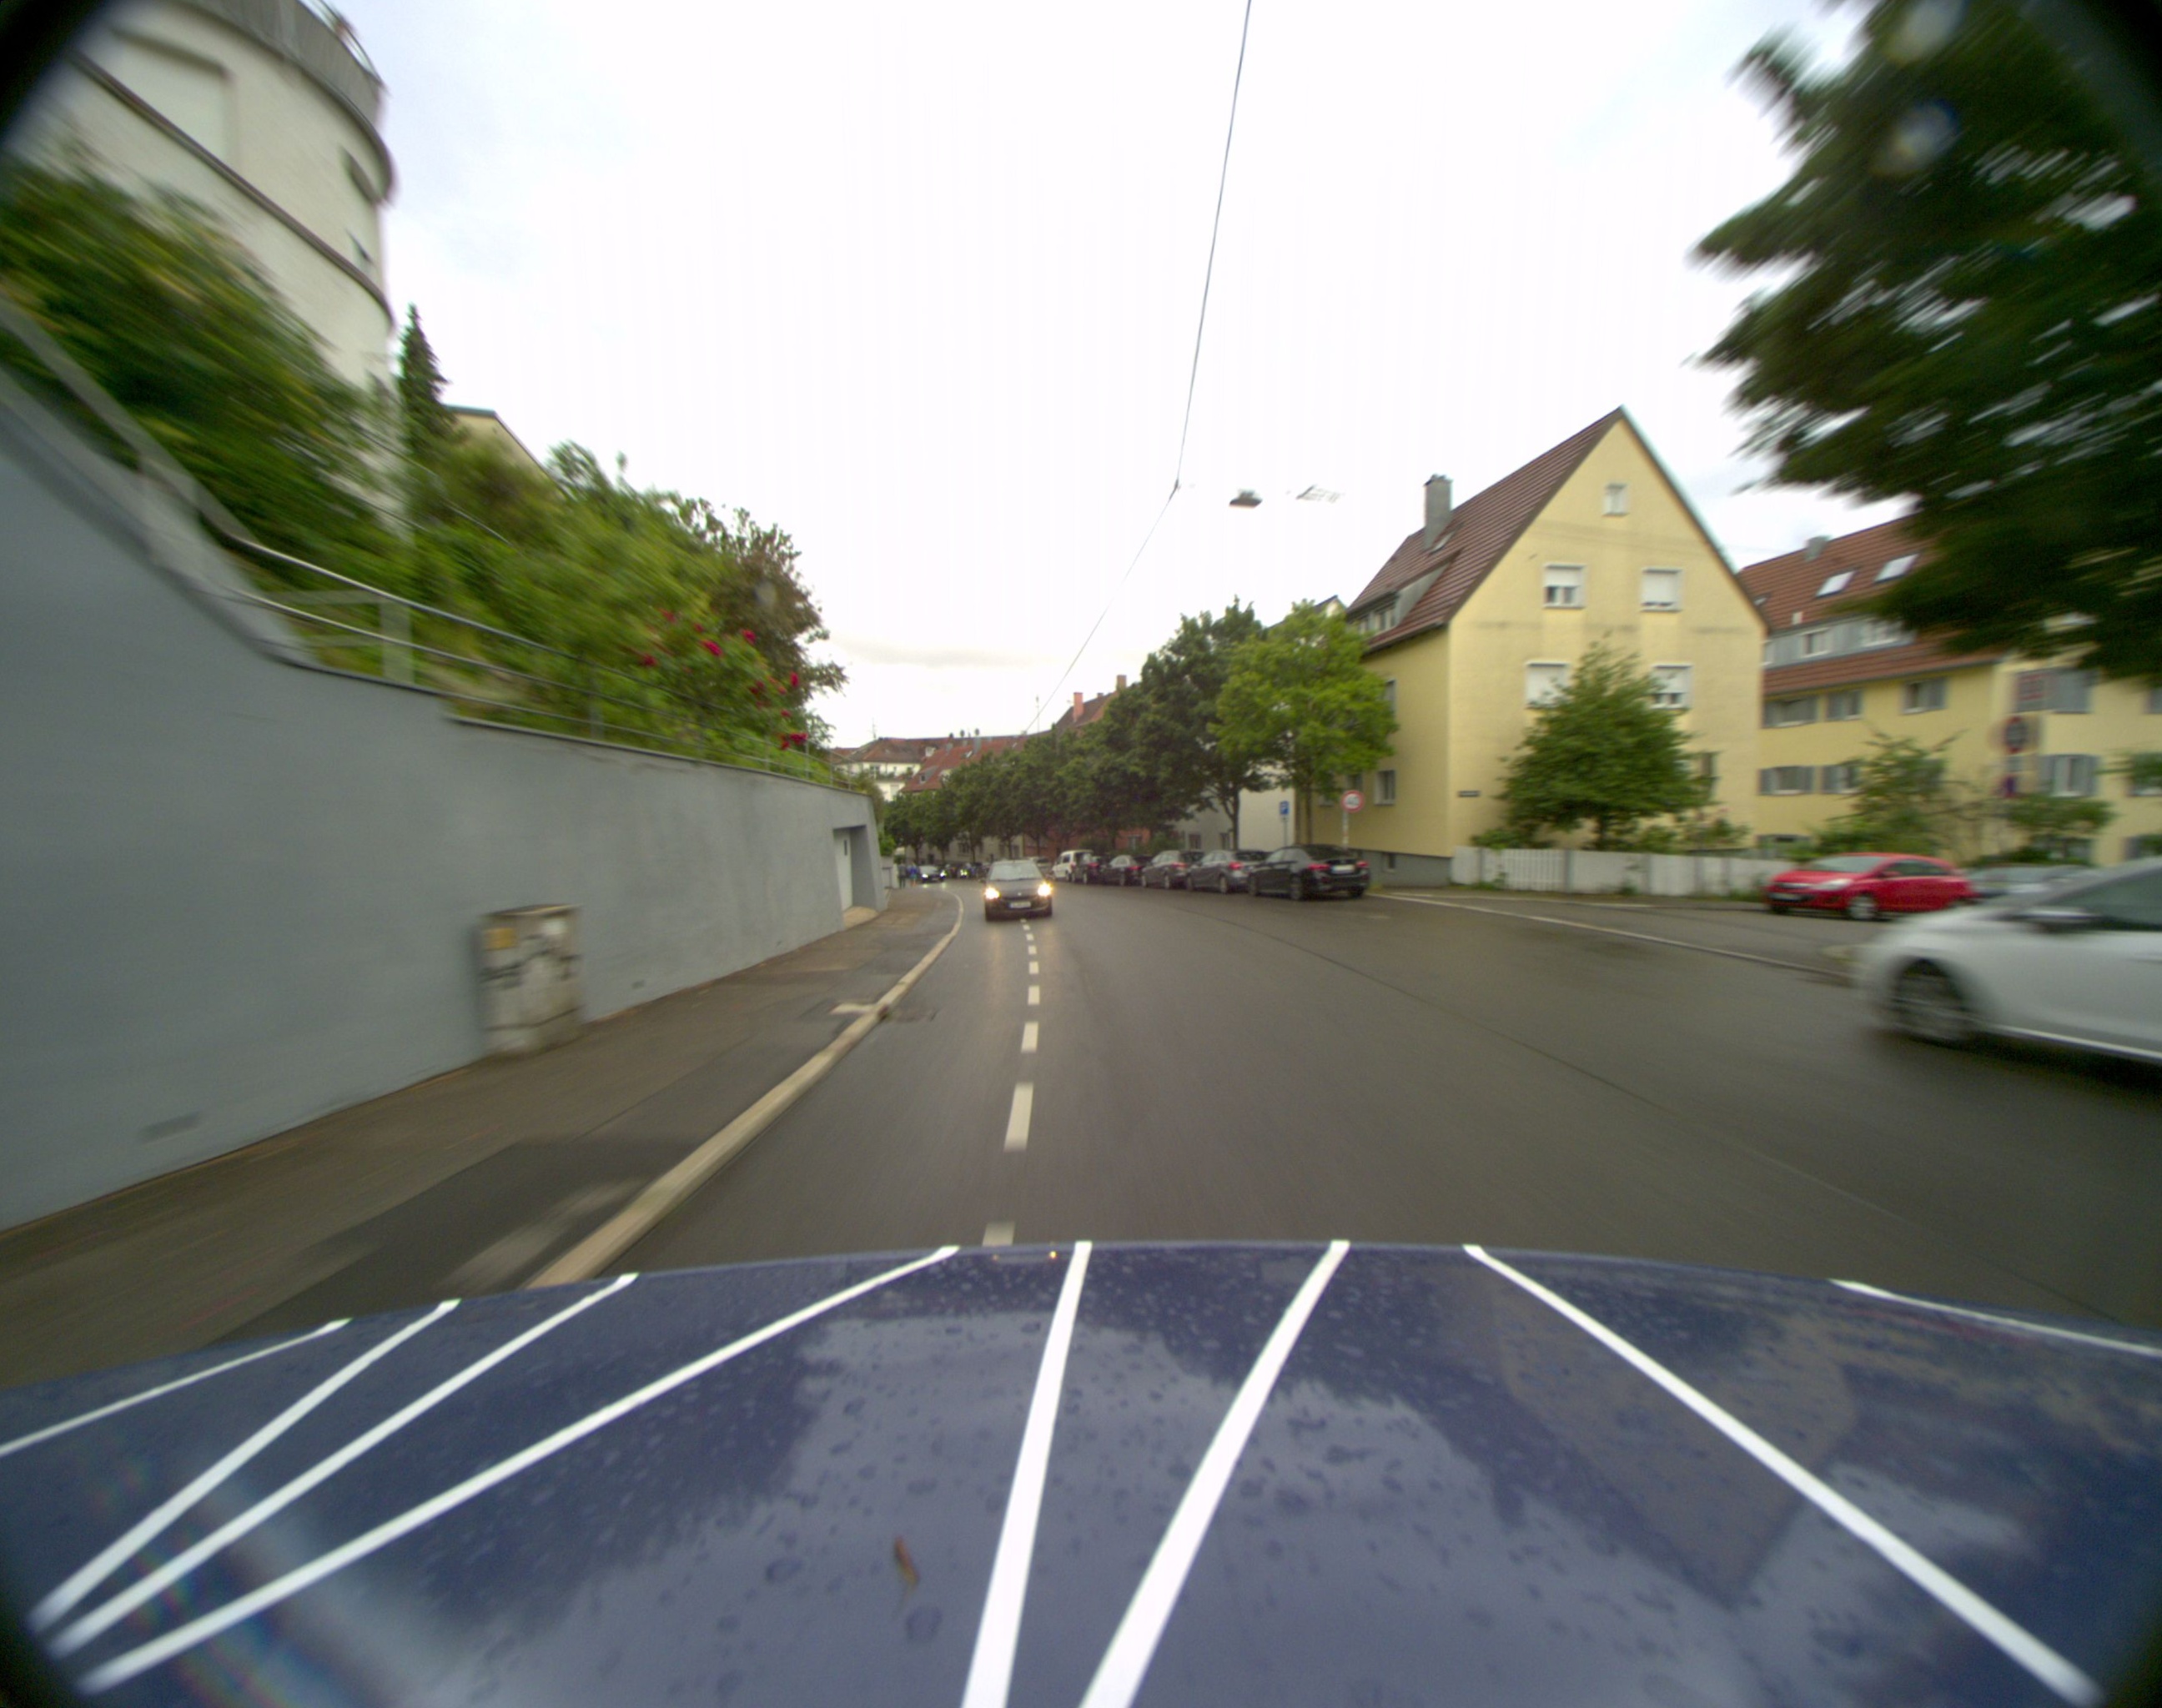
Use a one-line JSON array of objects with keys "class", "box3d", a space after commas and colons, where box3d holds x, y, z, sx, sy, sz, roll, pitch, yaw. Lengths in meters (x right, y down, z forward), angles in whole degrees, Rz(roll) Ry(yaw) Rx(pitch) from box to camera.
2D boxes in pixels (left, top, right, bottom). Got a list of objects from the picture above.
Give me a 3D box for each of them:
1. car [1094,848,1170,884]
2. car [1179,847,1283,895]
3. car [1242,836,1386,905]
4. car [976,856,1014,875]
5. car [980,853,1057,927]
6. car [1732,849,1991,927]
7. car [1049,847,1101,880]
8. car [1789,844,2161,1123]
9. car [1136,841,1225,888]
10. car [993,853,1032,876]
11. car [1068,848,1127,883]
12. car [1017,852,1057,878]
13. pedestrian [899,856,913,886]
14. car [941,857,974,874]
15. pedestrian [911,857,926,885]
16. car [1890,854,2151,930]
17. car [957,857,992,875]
[{"class": "car", "box3d": [2.322, 0.567, 35.908, 1.861, 1.490, 4.734, -4, 0, -18]}, {"class": "car", "box3d": [4.871, 0.528, 25.297, 1.620, 1.388, 4.317, -3, 0, -15]}, {"class": "car", "box3d": [6.030, 0.373, 20.310, 1.781, 1.531, 4.512, -4, 1, -9]}, {"class": "car", "box3d": [-7.415, 0.975, 65.175, 1.795, 1.484, 4.352, -4, 1, -27]}, {"class": "car", "box3d": [-1.701, 0.863, 20.246, 1.698, 1.456, 3.996, -6, 3, -6]}, {"class": "car", "box3d": [17.207, 0.720, 16.862, 4.000, 1.436, 1.998, 3, 1, -9]}, {"class": "car", "box3d": [-0.431, 0.565, 46.256, 1.861, 1.766, 4.476, -4, 1, -17]}, {"class": "car", "box3d": [6.927, 0.754, 4.305, 1.788, 1.506, 4.344, 1, 2, 1]}, {"class": "car", "box3d": [3.855, 0.409, 30.304, 1.861, 1.680, 4.549, -2, 0, -15]}, {"class": "car", "box3d": [-5.449, 0.821, 59.998, 1.794, 1.631, 4.472, -4, 1, -21]}, {"class": "car", "box3d": [0.819, 0.574, 40.684, 1.861, 1.658, 4.582, -4, 1, -15]}, {"class": "car", "box3d": [-3.224, 0.768, 54.547, 1.753, 1.680, 4.593, -4, 1, -17]}, {"class": "pedestrian", "box3d": [-10.999, 1.071, 47.697, 0.779, 1.821, 1.249, 0, -1, -17]}, {"class": "car", "box3d": [-12.273, 1.174, 75.262, 1.795, 1.484, 4.352, -4, 1, -30]}, {"class": "pedestrian", "box3d": [-10.251, 1.079, 47.900, 0.778, 1.748, 1.010, -1, 1, -17]}, {"class": "car", "box3d": [21.559, 0.842, 17.532, 4.000, 1.436, 1.998, 3, 1, -9]}, {"class": "car", "box3d": [-9.939, 1.114, 70.497, 1.795, 1.484, 4.852, -4, 1, -24]}]
